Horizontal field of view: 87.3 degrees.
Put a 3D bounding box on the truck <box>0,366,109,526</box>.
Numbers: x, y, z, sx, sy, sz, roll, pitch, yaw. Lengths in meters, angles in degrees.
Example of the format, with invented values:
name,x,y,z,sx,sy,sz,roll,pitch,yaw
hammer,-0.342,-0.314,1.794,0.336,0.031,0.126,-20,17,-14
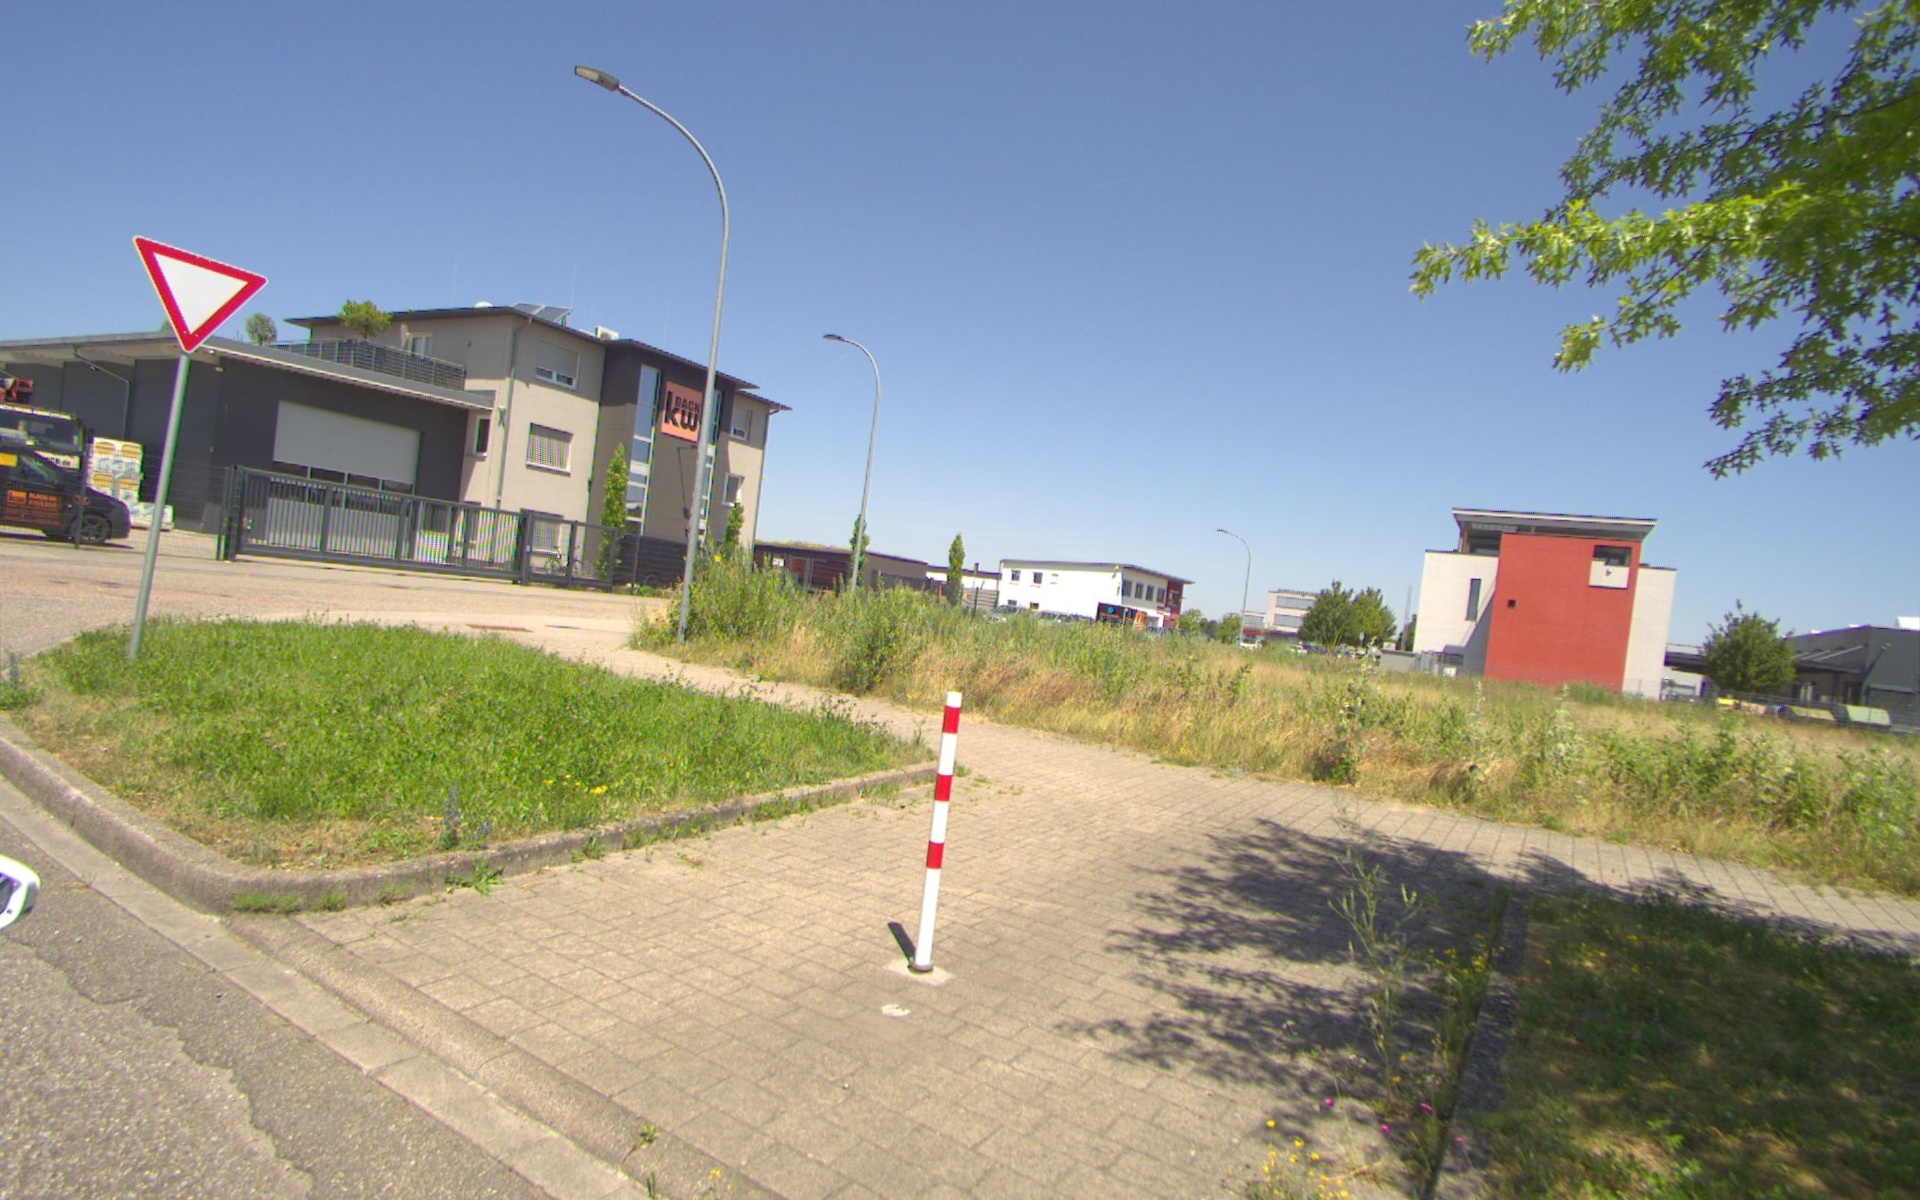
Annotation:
name,x,y,z,sx,sy,sz,roll,pitch,yaw
truck,-28.281,-4.579,29.378,6.819,3.979,2.925,7,1,31

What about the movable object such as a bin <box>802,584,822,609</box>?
name,x,y,z,sx,sy,sz,roll,pitch,yaw
movable object such as a bin,-5.931,-0.134,40.379,0.552,0.896,0.435,8,2,32

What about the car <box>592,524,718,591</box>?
name,x,y,z,sx,sy,sz,roll,pitch,yaw
car,-11.100,-1.514,36.839,1.967,1.890,3.991,8,1,31

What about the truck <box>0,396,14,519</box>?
name,x,y,z,sx,sy,sz,roll,pitch,yaw
truck,-34.803,-5.084,33.422,6.819,3.979,2.925,7,1,31

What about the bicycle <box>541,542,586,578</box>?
name,x,y,z,sx,sy,sz,roll,pitch,yaw
bicycle,-15.112,-1.520,38.391,0.436,1.200,1.807,7,1,17

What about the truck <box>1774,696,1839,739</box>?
name,x,y,z,sx,sy,sz,roll,pitch,yaw
truck,49.357,6.829,58.765,1.966,2.039,4.347,7,1,30

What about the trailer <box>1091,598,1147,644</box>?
name,x,y,z,sx,sy,sz,roll,pitch,yaw
trailer,10.647,1.451,67.135,2.195,2.632,3.992,8,1,30

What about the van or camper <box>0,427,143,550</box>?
name,x,y,z,sx,sy,sz,roll,pitch,yaw
van or camper,-20.027,-2.463,20.336,1.966,2.191,4.943,9,1,30

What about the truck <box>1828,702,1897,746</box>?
name,x,y,z,sx,sy,sz,roll,pitch,yaw
truck,51.857,7.071,57.882,1.966,2.039,3.992,7,1,30

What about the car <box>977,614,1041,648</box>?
name,x,y,z,sx,sy,sz,roll,pitch,yaw
car,2.572,1.637,52.588,1.650,1.401,3.634,9,1,32

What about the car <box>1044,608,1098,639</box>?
name,x,y,z,sx,sy,sz,roll,pitch,yaw
car,6.619,1.412,59.692,1.650,1.401,3.634,9,1,32
